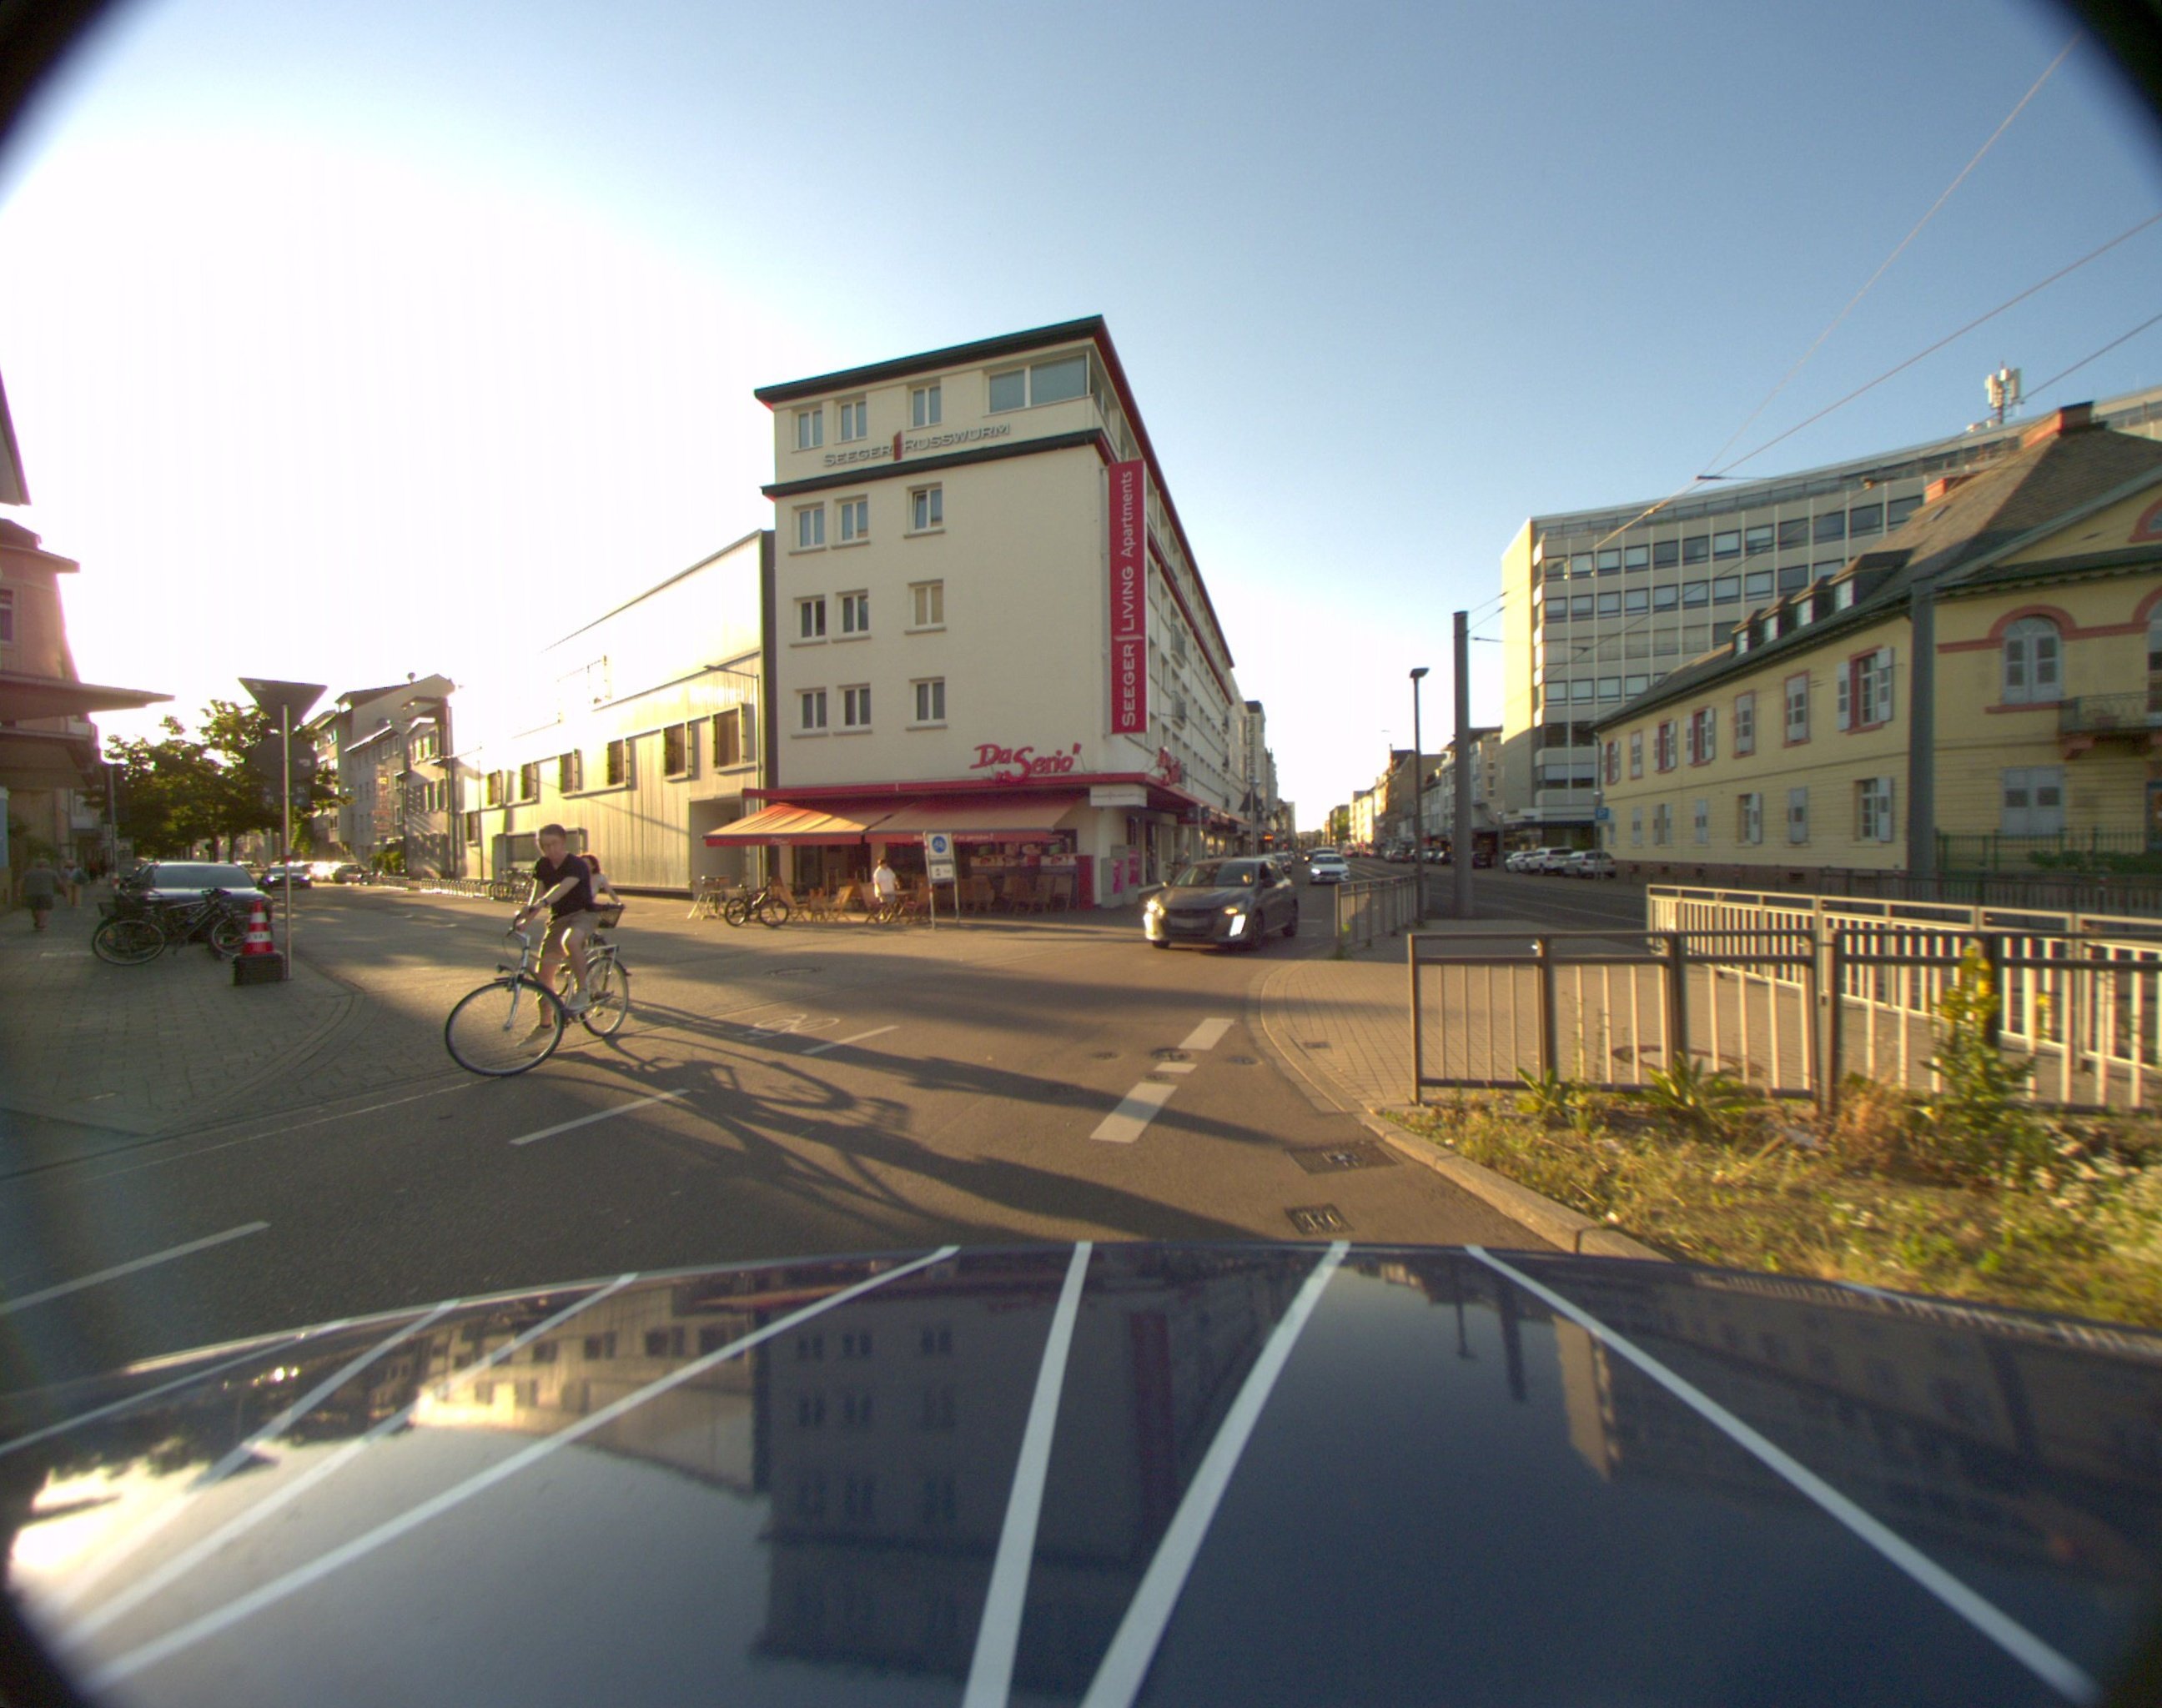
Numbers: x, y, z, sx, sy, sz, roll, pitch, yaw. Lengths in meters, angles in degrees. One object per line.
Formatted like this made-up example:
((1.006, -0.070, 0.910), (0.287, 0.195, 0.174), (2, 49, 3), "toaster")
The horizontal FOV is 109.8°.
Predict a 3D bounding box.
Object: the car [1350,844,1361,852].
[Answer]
((59.430, -1.335, 164.708), (1.996, 1.543, 4.005), (0, 1, 17), "car")

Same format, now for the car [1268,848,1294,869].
((15.331, 0.344, 58.151), (1.792, 1.503, 4.717), (1, 1, 15), "car")

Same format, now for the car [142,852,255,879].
((-53.924, 0.675, 46.544), (1.996, 1.597, 4.004), (-1, 0, 13), "car")

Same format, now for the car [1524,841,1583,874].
((28.377, 0.177, 45.796), (1.815, 1.775, 4.503), (-3, 0, 17), "car")

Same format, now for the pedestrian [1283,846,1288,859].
((27.909, -0.204, 103.851), (0.609, 1.743, 0.606), (0, 1, 16), "pedestrian")

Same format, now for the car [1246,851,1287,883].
((9.482, 0.599, 38.609), (1.787, 1.503, 4.056), (1, 1, 17), "car")

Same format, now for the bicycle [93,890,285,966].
((-15.606, 1.250, 13.374), (0.702, 1.212, 2.118), (0, -2, 39), "bicycle")

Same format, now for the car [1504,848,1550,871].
((30.196, 0.329, 51.550), (1.814, 1.503, 4.438), (0, 0, 18), "car")

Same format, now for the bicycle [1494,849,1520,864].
((40.568, 0.273, 72.405), (1.971, 1.417, 0.835), (0, 1, 15), "bicycle")

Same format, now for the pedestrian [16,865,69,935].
((-22.979, 1.000, 16.828), (0.598, 1.516, 0.679), (0, -1, 37), "pedestrian")

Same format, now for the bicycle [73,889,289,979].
((-13.859, 1.175, 11.790), (0.702, 1.213, 2.118), (0, -1, 39), "bicycle")

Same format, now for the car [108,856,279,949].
((-18.947, 0.926, 16.193), (3.989, 1.739, 1.898), (0, 0, 34), "car")

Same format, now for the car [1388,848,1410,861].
((37.713, 0.095, 90.185), (1.738, 1.503, 4.038), (0, 0, 12), "car")

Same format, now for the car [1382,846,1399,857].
((41.374, -0.369, 101.565), (1.808, 1.503, 4.040), (1, 1, 18), "car")

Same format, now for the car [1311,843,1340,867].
((19.354, 0.085, 60.167), (1.996, 1.805, 4.004), (0, 0, 15), "car")

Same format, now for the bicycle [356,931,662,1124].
((-4.317, 1.243, 6.018), (0.840, 1.014, 2.077), (-1, 1, 0), "bicycle")

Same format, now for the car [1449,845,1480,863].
((35.491, -0.001, 70.411), (1.687, 1.503, 4.220), (5, 2, 17), "car")

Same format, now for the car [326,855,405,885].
((-52.271, 1.157, 55.562), (1.994, 2.002, 4.008), (-2, 0, 42), "car")

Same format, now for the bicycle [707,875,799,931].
((-7.924, 1.155, 18.369), (2.108, 1.280, 0.705), (0, 1, 19), "bicycle")

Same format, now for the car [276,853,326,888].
((-48.085, 1.003, 46.865), (3.989, 2.002, 2.004), (-2, 0, 44), "car")

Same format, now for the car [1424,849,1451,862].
((40.112, 0.157, 85.584), (1.996, 1.457, 4.563), (-1, 0, 15), "car")

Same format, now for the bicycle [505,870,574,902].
((-21.354, 1.255, 30.007), (0.702, 1.213, 2.118), (0, -1, 39), "bicycle")

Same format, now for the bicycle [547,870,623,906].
((-17.542, 1.192, 26.925), (0.702, 1.213, 2.118), (0, -1, 39), "bicycle")

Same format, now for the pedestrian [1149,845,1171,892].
((2.989, 0.554, 28.679), (0.605, 1.750, 0.526), (-1, 1, -27), "pedestrian")

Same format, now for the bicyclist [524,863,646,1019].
((-5.633, 0.923, 8.627), (1.111, 1.613, 0.842), (0, 1, 40), "bicyclist")

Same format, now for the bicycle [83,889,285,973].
((-14.693, 1.206, 12.528), (0.702, 1.213, 2.118), (0, -1, 39), "bicycle")

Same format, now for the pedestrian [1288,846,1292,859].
((28.526, -0.179, 103.695), (0.605, 1.717, 0.647), (0, 1, 16), "pedestrian")

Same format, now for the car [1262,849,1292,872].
((13.492, 0.389, 52.187), (1.737, 1.503, 4.308), (1, 1, 17), "car")

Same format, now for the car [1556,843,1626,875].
((27.132, 0.244, 40.575), (1.815, 1.608, 4.219), (0, 1, 14), "car")

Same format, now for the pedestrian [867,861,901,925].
((-4.853, 0.948, 18.706), (0.572, 1.532, 0.574), (-1, 1, 12), "pedestrian")

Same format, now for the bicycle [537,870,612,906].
((-18.219, 1.197, 27.387), (0.702, 1.213, 2.118), (0, -1, 39), "bicycle")

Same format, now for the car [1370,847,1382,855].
((61.061, -0.635, 157.458), (1.996, 1.543, 4.211), (0, 0, 16), "car")

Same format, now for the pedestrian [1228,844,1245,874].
((8.875, 0.283, 43.324), (0.828, 1.708, 0.844), (1, 1, 17), "pedestrian")

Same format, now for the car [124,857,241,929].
((-24.347, 0.972, 20.698), (4.420, 1.739, 1.898), (0, -1, 42), "car")

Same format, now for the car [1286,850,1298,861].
((30.872, 0.206, 111.094), (1.680, 1.534, 3.891), (1, 1, 17), "car")

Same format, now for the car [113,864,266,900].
((-39.619, 1.187, 33.934), (1.998, 1.423, 4.001), (-1, 0, 3), "car")

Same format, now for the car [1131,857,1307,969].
((2.529, 0.848, 12.957), (1.729, 1.513, 4.341), (-1, 0, 27), "car")

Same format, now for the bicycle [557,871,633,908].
((-16.847, 1.217, 26.382), (0.702, 1.213, 2.118), (0, -1, 39), "bicycle")

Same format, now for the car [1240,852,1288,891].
((8.009, 0.695, 33.012), (1.737, 1.503, 4.691), (1, 1, 17), "car")

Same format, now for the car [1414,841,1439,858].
((42.210, -0.544, 92.839), (1.958, 1.965, 5.169), (0, 0, 15), "car")

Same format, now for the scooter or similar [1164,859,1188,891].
((3.688, 0.796, 29.468), (0.357, 1.195, 1.247), (-1, 0, -21), "scooter or similar")

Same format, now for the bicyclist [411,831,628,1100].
((-4.326, 0.792, 5.965), (0.840, 1.906, 1.115), (-1, 1, 0), "bicyclist")

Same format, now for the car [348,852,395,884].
((-47.009, 0.958, 50.328), (4.246, 2.002, 2.004), (-2, 0, 44), "car")

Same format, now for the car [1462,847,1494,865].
((33.985, 0.167, 65.097), (1.688, 1.503, 4.220), (-1, 0, 17), "car")

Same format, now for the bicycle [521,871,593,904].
((-19.908, 1.256, 28.907), (0.702, 1.213, 2.118), (0, -1, 39), "bicycle")

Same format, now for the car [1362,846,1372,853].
((67.136, -1.117, 178.424), (1.996, 1.543, 4.005), (0, 1, 16), "car")

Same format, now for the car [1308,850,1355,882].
((12.235, 0.547, 37.297), (1.996, 1.450, 4.004), (0, 0, 15), "car")

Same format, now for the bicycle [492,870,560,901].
((-22.474, 1.255, 30.814), (0.702, 1.213, 2.118), (0, -1, 39), "bicycle")

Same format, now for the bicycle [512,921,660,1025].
((-5.658, 1.293, 8.643), (2.007, 0.876, 0.842), (0, 1, 40), "bicycle")

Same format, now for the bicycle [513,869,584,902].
((-20.617, 1.197, 29.449), (0.702, 1.213, 2.118), (0, -1, 39), "bicycle")

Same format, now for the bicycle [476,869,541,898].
((-24.688, 1.250, 32.792), (0.702, 1.213, 2.117), (0, -1, 32), "bicycle")

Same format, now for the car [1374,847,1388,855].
((57.629, -0.628, 146.019), (1.996, 1.543, 4.005), (0, 0, 16), "car")

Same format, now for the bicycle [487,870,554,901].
((-23.060, 1.274, 31.284), (0.702, 1.213, 2.118), (0, -1, 39), "bicycle")

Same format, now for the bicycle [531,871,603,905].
((-19.059, 1.232, 28.222), (0.702, 1.213, 2.118), (0, -1, 39), "bicycle")

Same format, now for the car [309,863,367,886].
((-66.506, 1.837, 68.049), (1.604, 1.833, 3.471), (-2, 0, 39), "car")

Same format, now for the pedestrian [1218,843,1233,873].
((8.472, 0.244, 44.524), (0.729, 1.731, 0.864), (1, 1, 17), "pedestrian")
